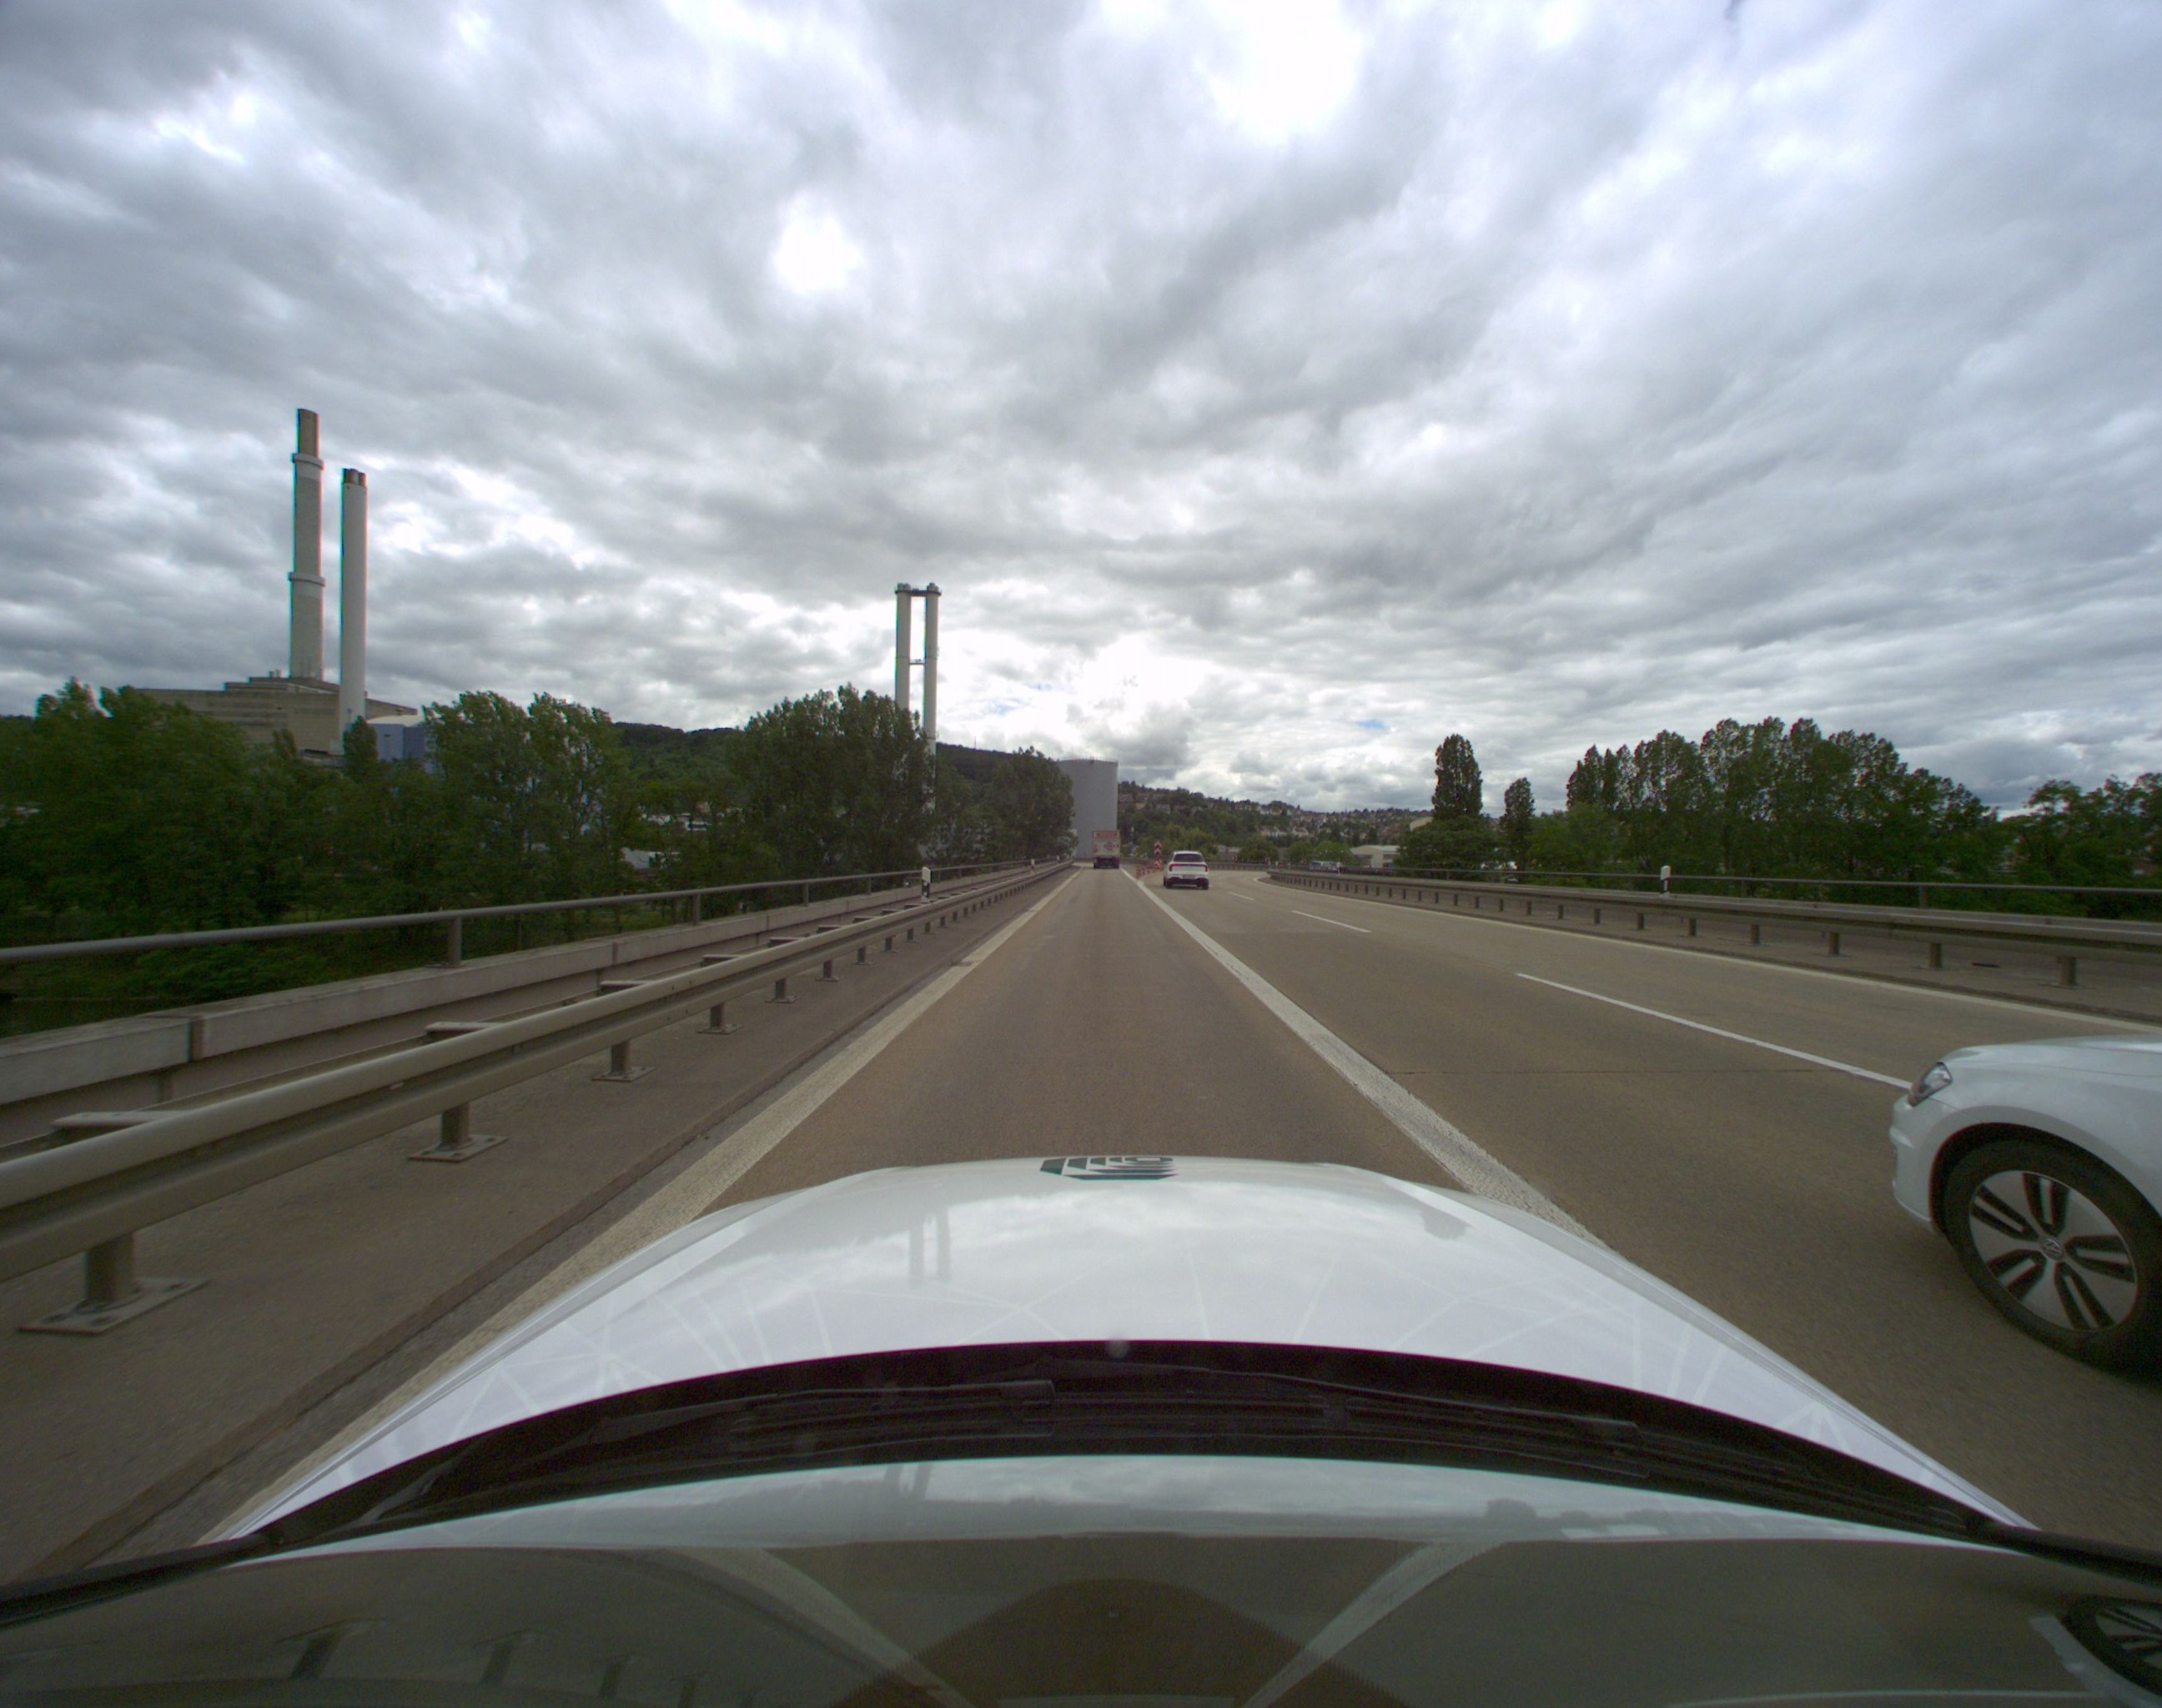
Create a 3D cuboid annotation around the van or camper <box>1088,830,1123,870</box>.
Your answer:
[{"bbox_3d":[2.386,-0.325,77.801,3.110,3.579,8.554,-1,0,2],"label":"van or camper"}]

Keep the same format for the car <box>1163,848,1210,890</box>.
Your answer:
[{"bbox_3d":[4.733,0.644,37.003,1.915,1.785,4.119,-1,0,5],"label":"car"}]

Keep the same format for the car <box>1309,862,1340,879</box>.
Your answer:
[{"bbox_3d":[27.379,1.806,91.448,1.905,1.785,4.139,-1,0,39],"label":"car"}]

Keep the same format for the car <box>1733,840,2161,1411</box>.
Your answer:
[{"bbox_3d":[3.646,0.697,1.437,1.748,1.451,4.072,-1,0,0],"label":"car"}]
